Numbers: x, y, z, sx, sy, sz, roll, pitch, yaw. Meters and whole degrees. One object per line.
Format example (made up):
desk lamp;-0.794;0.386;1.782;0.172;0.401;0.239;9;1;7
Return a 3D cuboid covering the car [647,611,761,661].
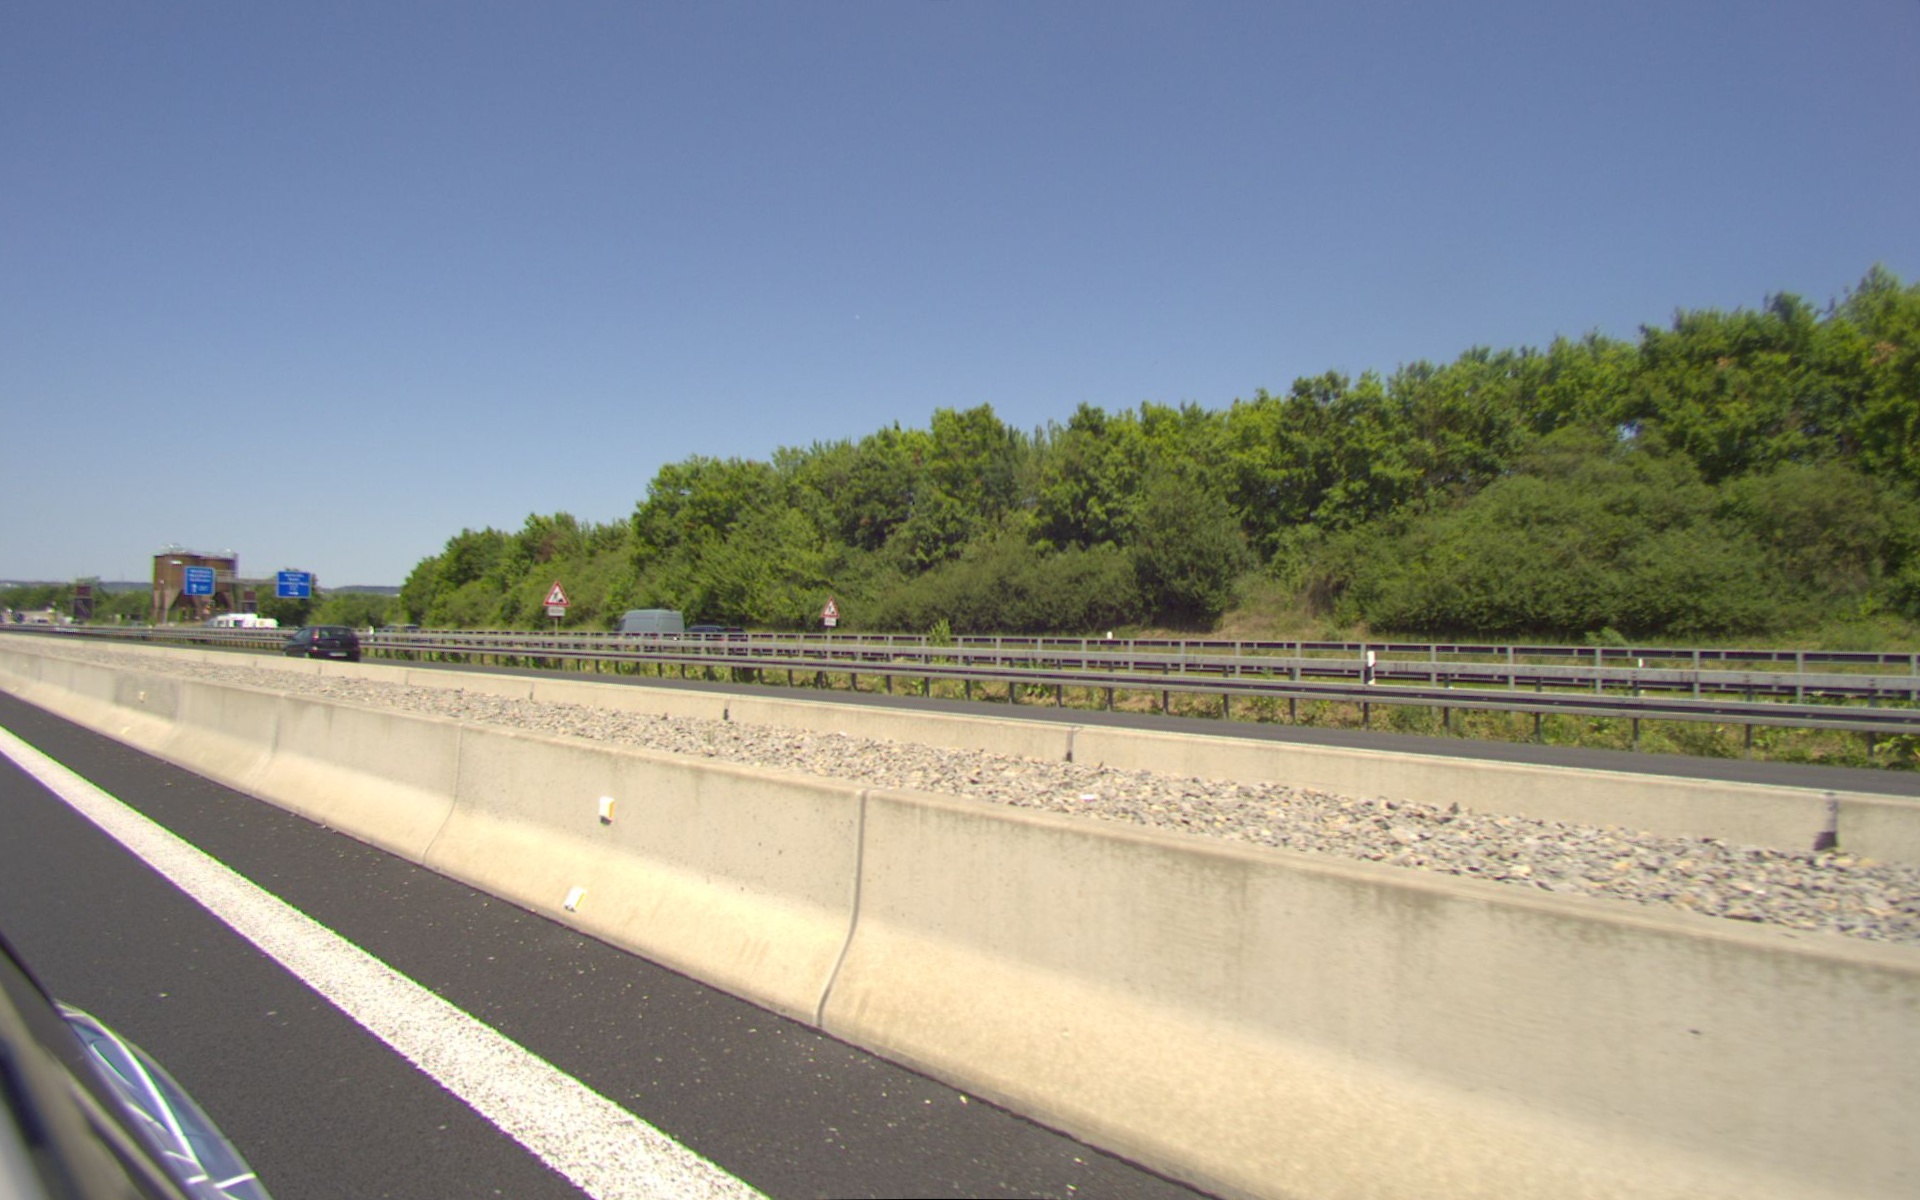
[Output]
car;-10.383;1.408;40.788;5.036;1.871;1.972;-1;-2;42

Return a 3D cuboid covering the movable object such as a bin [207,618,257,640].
movable object such as a bin;-72.687;2.859;100.977;6.775;2.029;2.482;0;0;40

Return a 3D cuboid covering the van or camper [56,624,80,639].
van or camper;-146.640;5.154;166.411;6.964;2.272;2.085;0;0;42

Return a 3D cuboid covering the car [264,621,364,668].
car;-22.817;1.522;35.688;4.156;1.546;1.815;-1;-2;40

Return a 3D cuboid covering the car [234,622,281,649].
car;-57.103;2.869;82.218;5.347;2.029;1.972;0;0;42

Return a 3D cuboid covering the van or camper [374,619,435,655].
van or camper;-33.842;2.213;61.635;3.998;2.029;1.973;-1;0;41

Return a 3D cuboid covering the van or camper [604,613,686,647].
van or camper;-17.946;1.696;57.481;5.528;1.812;1.972;-1;-2;43
